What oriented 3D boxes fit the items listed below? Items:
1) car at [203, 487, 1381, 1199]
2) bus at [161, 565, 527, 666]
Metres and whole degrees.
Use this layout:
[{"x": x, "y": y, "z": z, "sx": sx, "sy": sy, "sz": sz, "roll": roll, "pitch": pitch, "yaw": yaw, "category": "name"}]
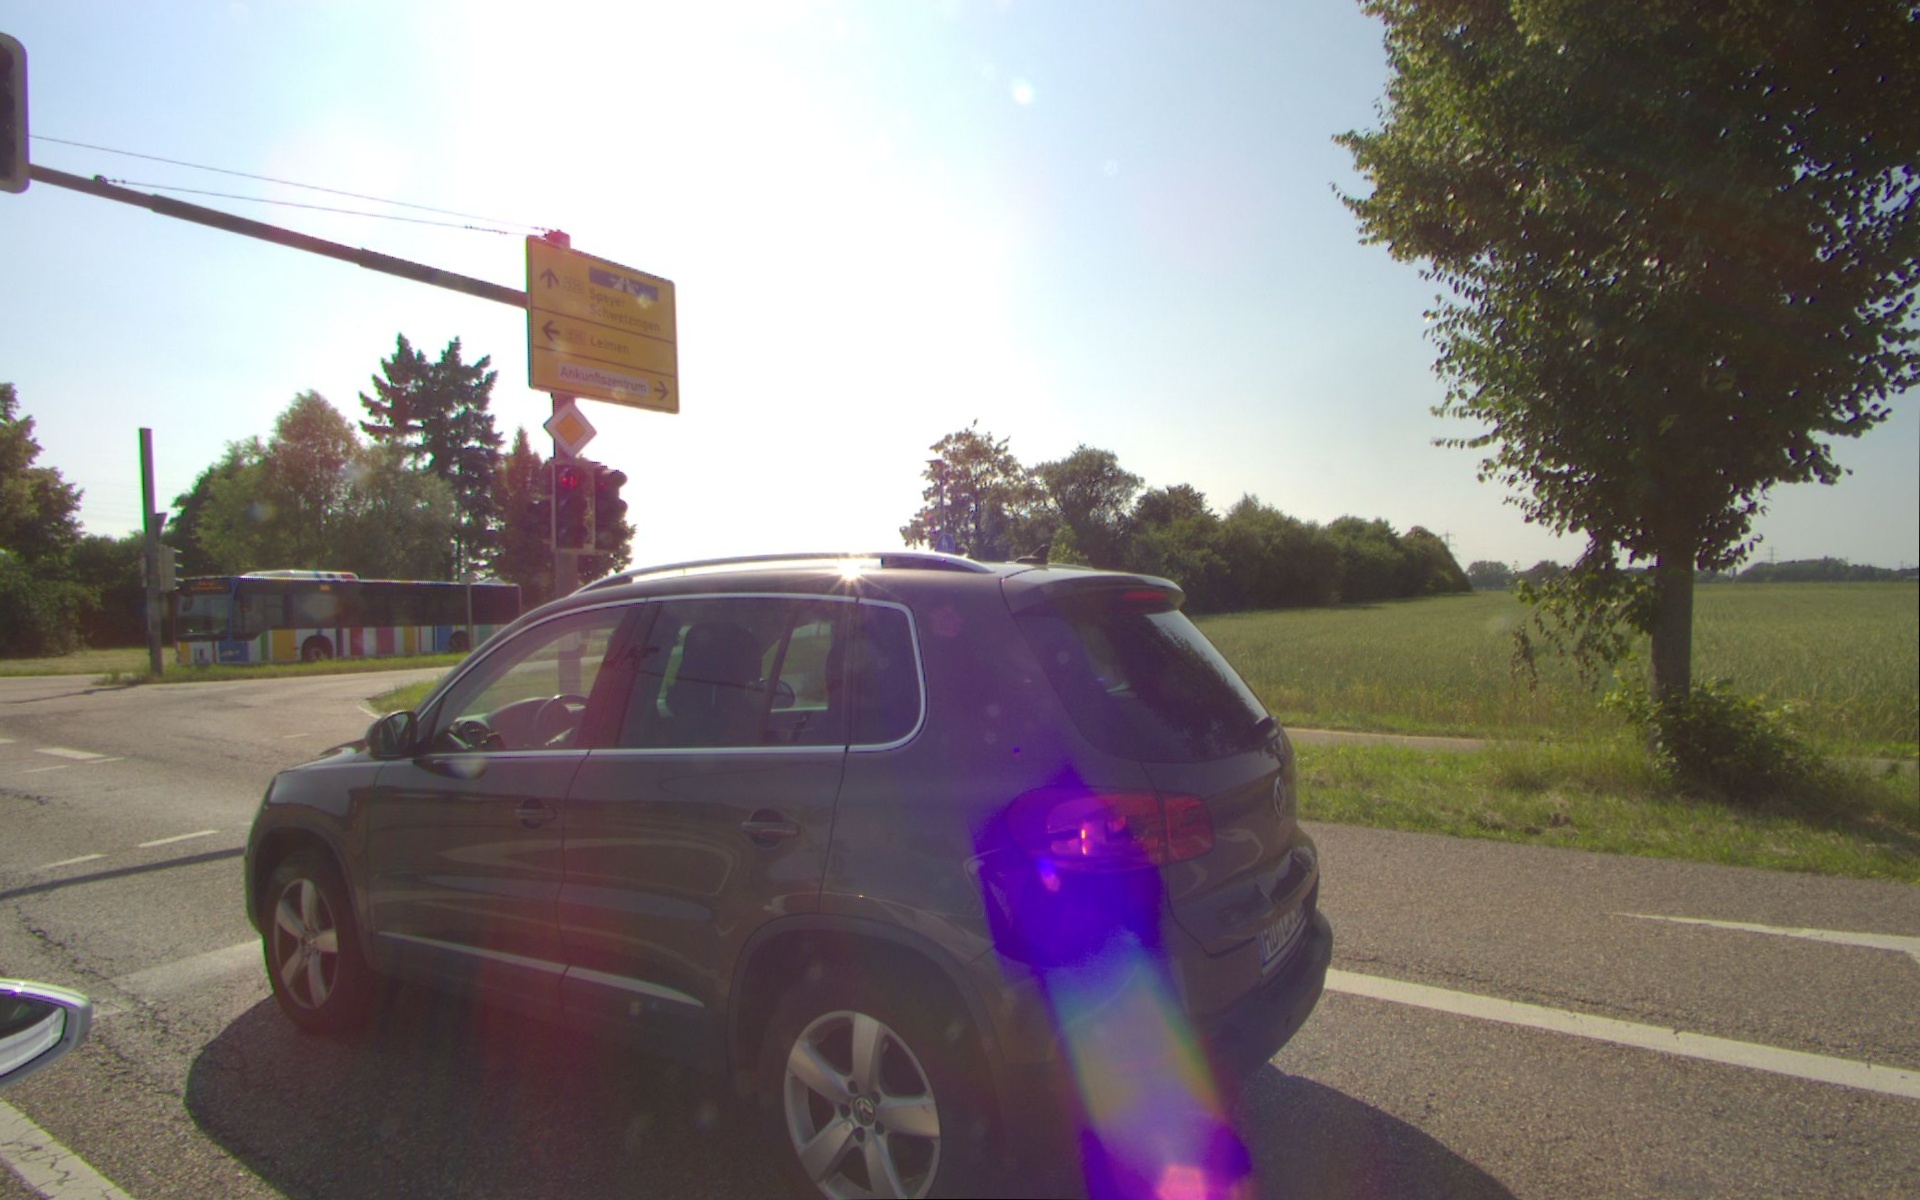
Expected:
[{"x": -0.798, "y": 0.689, "z": 3.631, "sx": 4.086, "sy": 1.677, "sz": 1.753, "roll": -1, "pitch": -2, "yaw": 32, "category": "car"}, {"x": -20.659, "y": 0.403, "z": 35.176, "sx": 2.889, "sy": 2.916, "sz": 11.955, "roll": -1, "pitch": 0, "yaw": 17, "category": "bus"}]
